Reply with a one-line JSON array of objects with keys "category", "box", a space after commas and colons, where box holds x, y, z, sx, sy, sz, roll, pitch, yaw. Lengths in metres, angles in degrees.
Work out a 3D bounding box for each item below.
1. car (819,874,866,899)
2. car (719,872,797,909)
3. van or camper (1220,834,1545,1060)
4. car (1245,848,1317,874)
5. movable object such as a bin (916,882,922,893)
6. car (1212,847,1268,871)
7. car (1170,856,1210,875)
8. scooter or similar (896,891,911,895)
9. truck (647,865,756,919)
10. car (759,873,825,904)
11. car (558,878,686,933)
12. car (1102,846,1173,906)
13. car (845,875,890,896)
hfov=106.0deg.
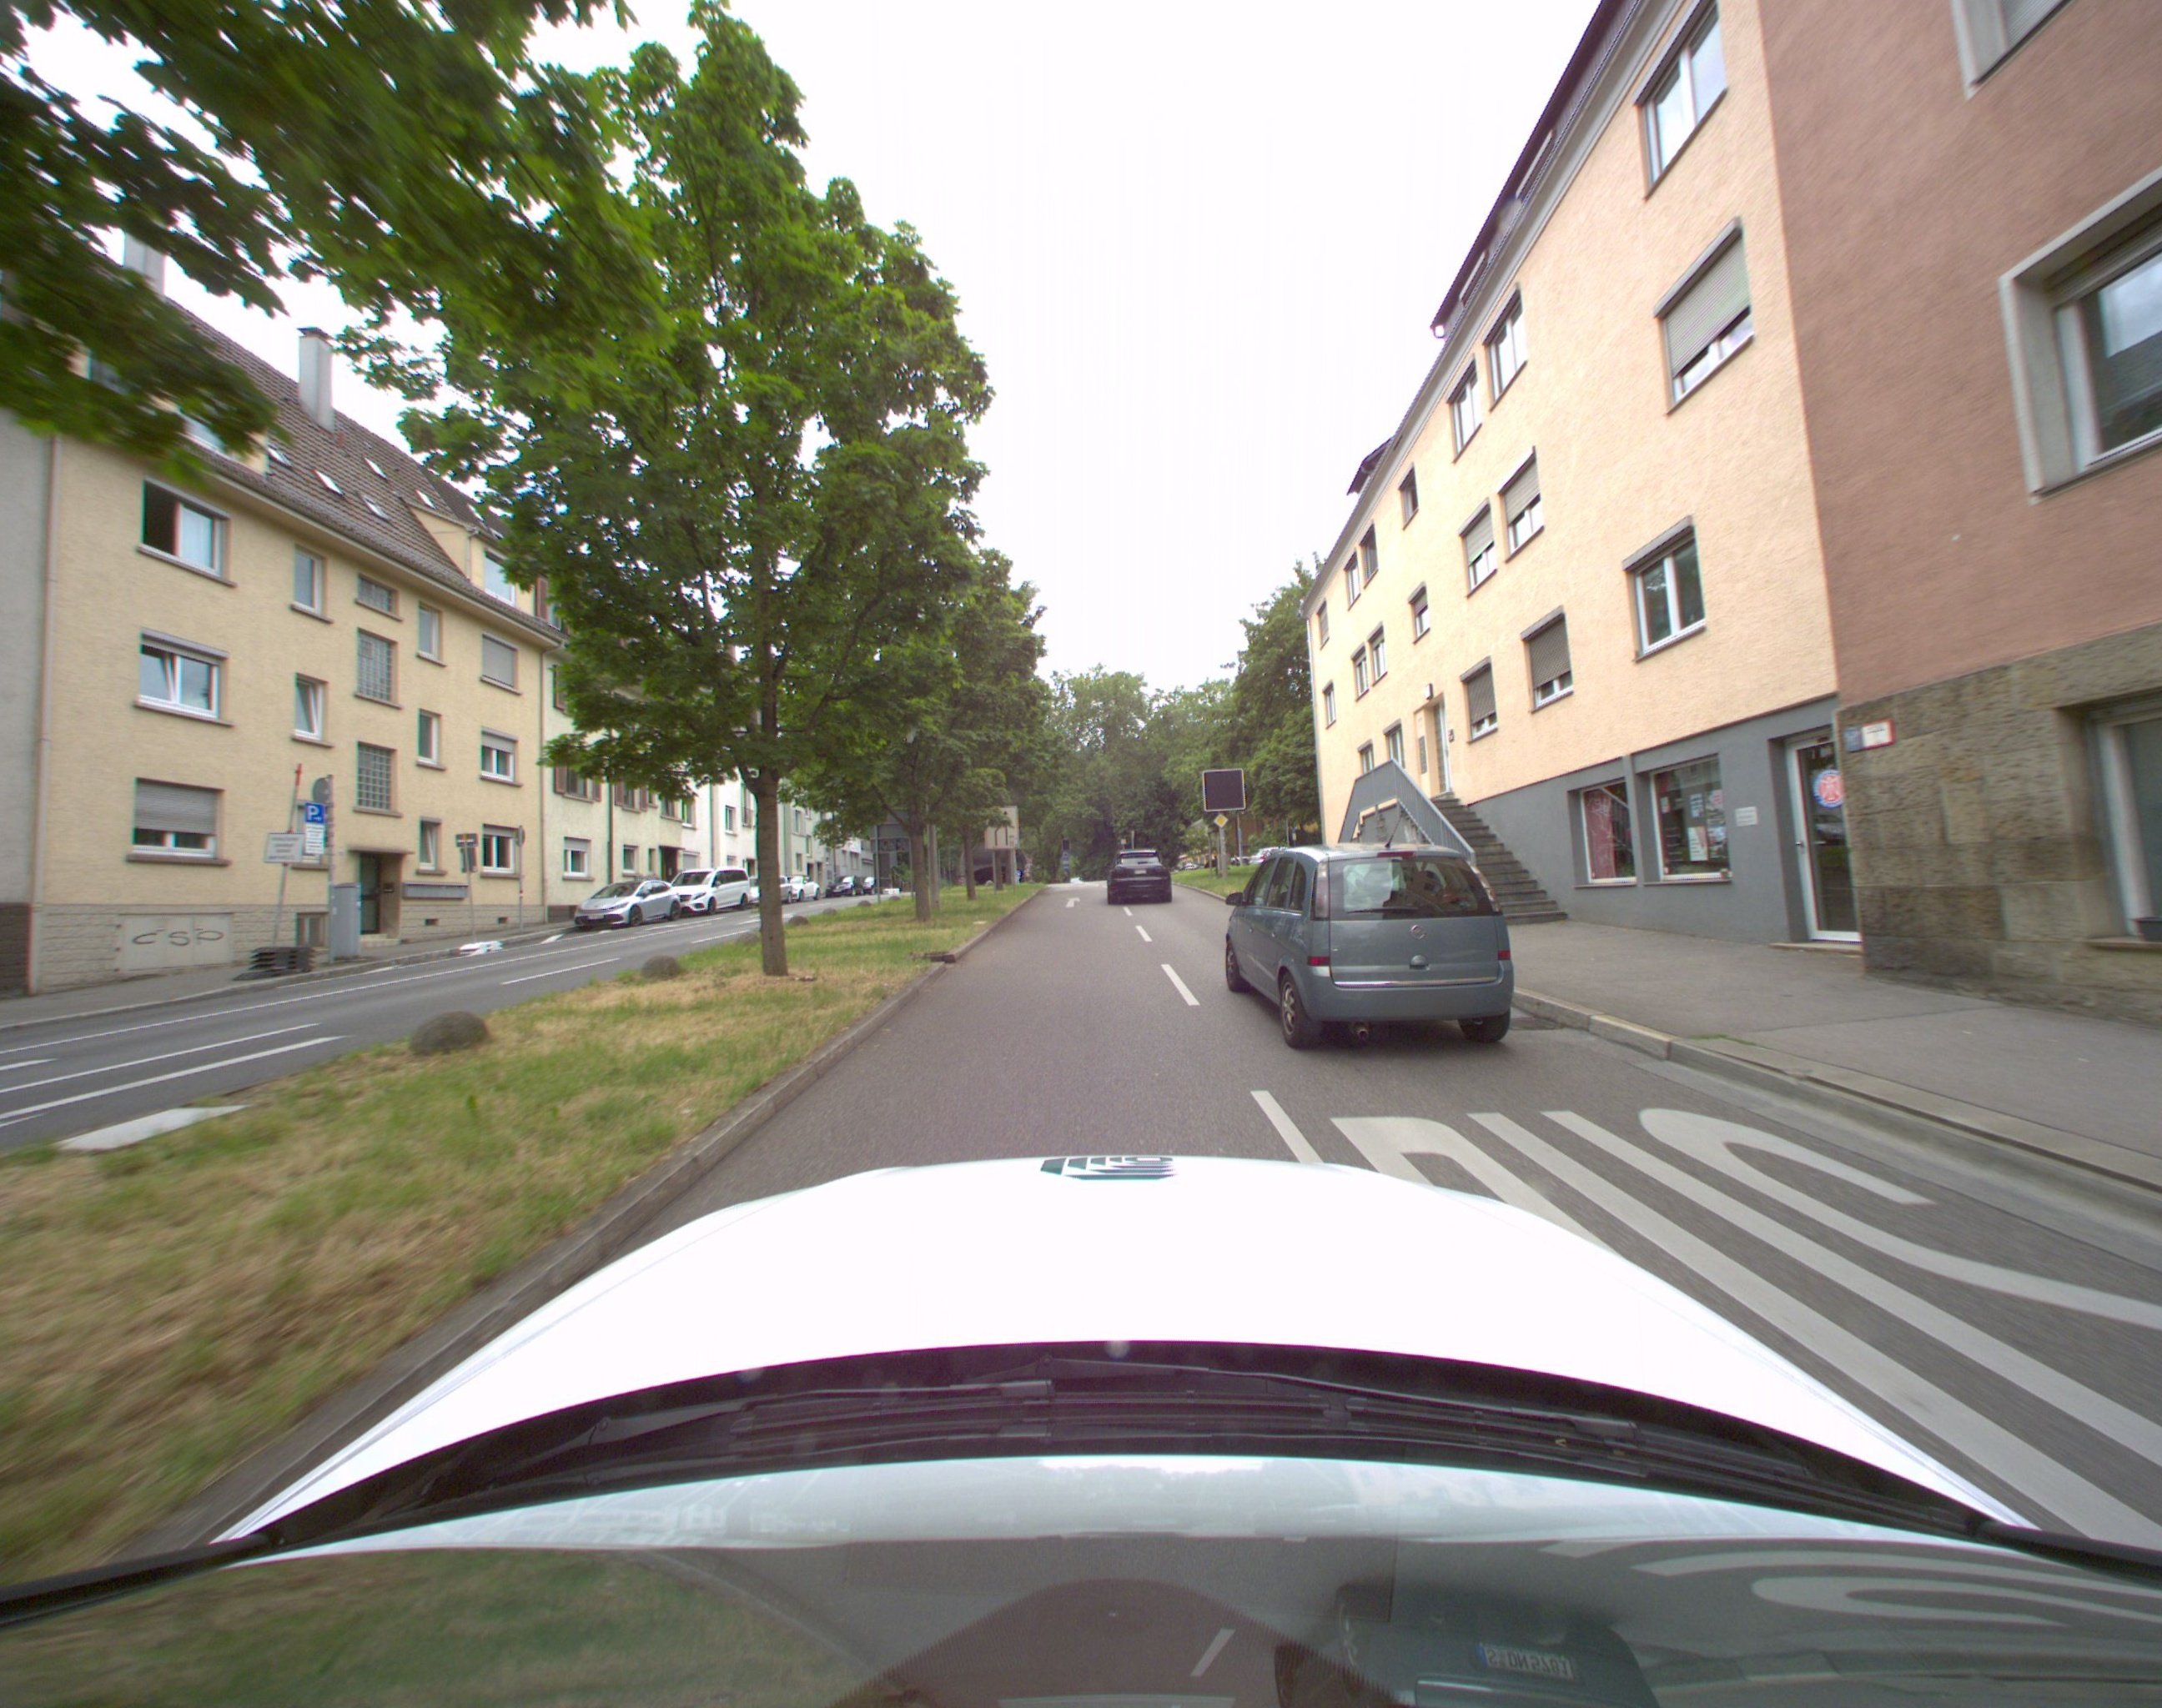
[{"category": "car", "box": [-15.689, 2.132, 53.751, 1.989, 1.423, 4.206, -3, -1, -4]}, {"category": "car", "box": [-15.464, 1.693, 39.233, 1.988, 1.552, 4.380, -3, -1, -1]}, {"category": "van or camper", "box": [2.447, 0.663, 7.596, 1.729, 1.578, 3.647, -1, 0, 1]}, {"category": "car", "box": [13.060, 0.455, 53.249, 4.114, 1.428, 1.858, -4, 0, -8]}, {"category": "movable object such as a bin", "box": [-15.052, 3.110, 75.769, 0.517, 0.968, 0.442, 1, -3, -15]}, {"category": "car", "box": [11.435, 0.357, 58.592, 1.975, 1.418, 4.024, -4, -1, 45]}, {"category": "car", "box": [11.084, 1.169, 83.067, 2.000, 1.578, 4.871, -3, -3, -19]}, {"category": "scooter or similar", "box": [-14.594, 3.198, 66.801, 1.126, 0.288, 1.093, -4, -3, -15]}, {"category": "truck", "box": [-15.545, 1.484, 33.736, 1.988, 1.920, 5.345, -3, -1, -1]}, {"category": "car", "box": [-15.631, 1.846, 44.253, 1.987, 1.474, 4.158, -3, -1, 0]}, {"category": "car", "box": [-15.544, 1.687, 27.879, 1.988, 1.552, 4.156, -3, -1, -1]}, {"category": "car", "box": [1.719, 0.693, 26.018, 1.986, 1.653, 4.001, -4, -1, 2]}, {"category": "car", "box": [-15.410, 2.256, 59.001, 1.987, 1.400, 4.517, -3, -1, 1]}]
